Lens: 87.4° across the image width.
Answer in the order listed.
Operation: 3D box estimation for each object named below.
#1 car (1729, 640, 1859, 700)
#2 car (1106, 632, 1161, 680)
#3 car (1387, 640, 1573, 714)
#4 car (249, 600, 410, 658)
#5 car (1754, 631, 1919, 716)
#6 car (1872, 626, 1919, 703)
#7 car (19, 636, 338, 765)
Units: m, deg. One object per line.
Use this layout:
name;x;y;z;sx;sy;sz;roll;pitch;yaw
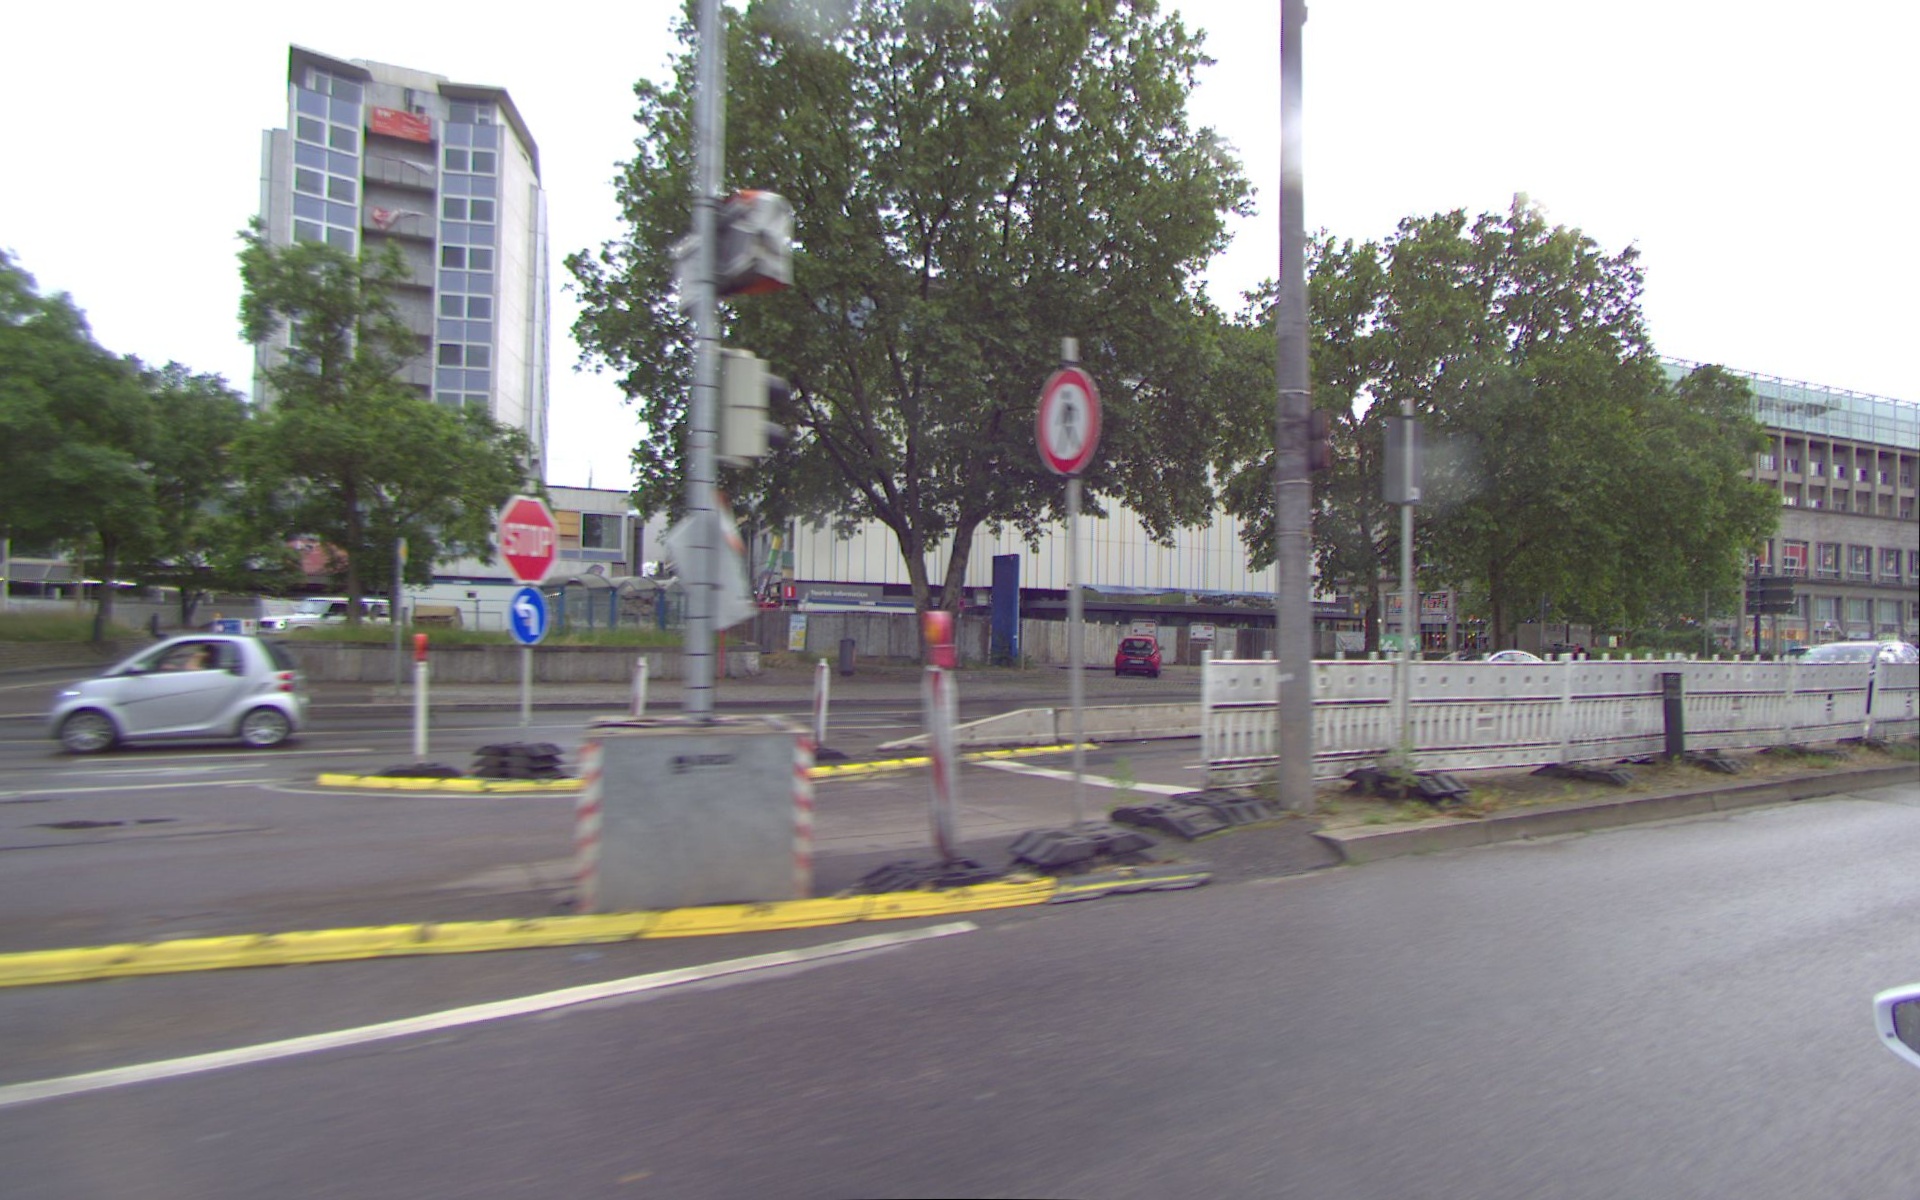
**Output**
car;27.553;2.244;33.179;4.247;1.725;1.882;0;0;-29
car;6.646;2.090;38.269;1.815;1.563;3.746;-2;0;13
car;13.794;1.977;26.608;4.754;1.653;1.987;0;0;-26
car;-23.847;1.070;38.176;1.999;2.040;4.825;0;-1;30
car;20.976;1.660;23.706;4.244;1.725;1.884;0;0;-26
car;26.938;1.732;27.104;4.507;1.877;1.907;0;4;-27
car;-10.489;1.293;13.787;3.132;1.563;1.673;1;-3;-27
